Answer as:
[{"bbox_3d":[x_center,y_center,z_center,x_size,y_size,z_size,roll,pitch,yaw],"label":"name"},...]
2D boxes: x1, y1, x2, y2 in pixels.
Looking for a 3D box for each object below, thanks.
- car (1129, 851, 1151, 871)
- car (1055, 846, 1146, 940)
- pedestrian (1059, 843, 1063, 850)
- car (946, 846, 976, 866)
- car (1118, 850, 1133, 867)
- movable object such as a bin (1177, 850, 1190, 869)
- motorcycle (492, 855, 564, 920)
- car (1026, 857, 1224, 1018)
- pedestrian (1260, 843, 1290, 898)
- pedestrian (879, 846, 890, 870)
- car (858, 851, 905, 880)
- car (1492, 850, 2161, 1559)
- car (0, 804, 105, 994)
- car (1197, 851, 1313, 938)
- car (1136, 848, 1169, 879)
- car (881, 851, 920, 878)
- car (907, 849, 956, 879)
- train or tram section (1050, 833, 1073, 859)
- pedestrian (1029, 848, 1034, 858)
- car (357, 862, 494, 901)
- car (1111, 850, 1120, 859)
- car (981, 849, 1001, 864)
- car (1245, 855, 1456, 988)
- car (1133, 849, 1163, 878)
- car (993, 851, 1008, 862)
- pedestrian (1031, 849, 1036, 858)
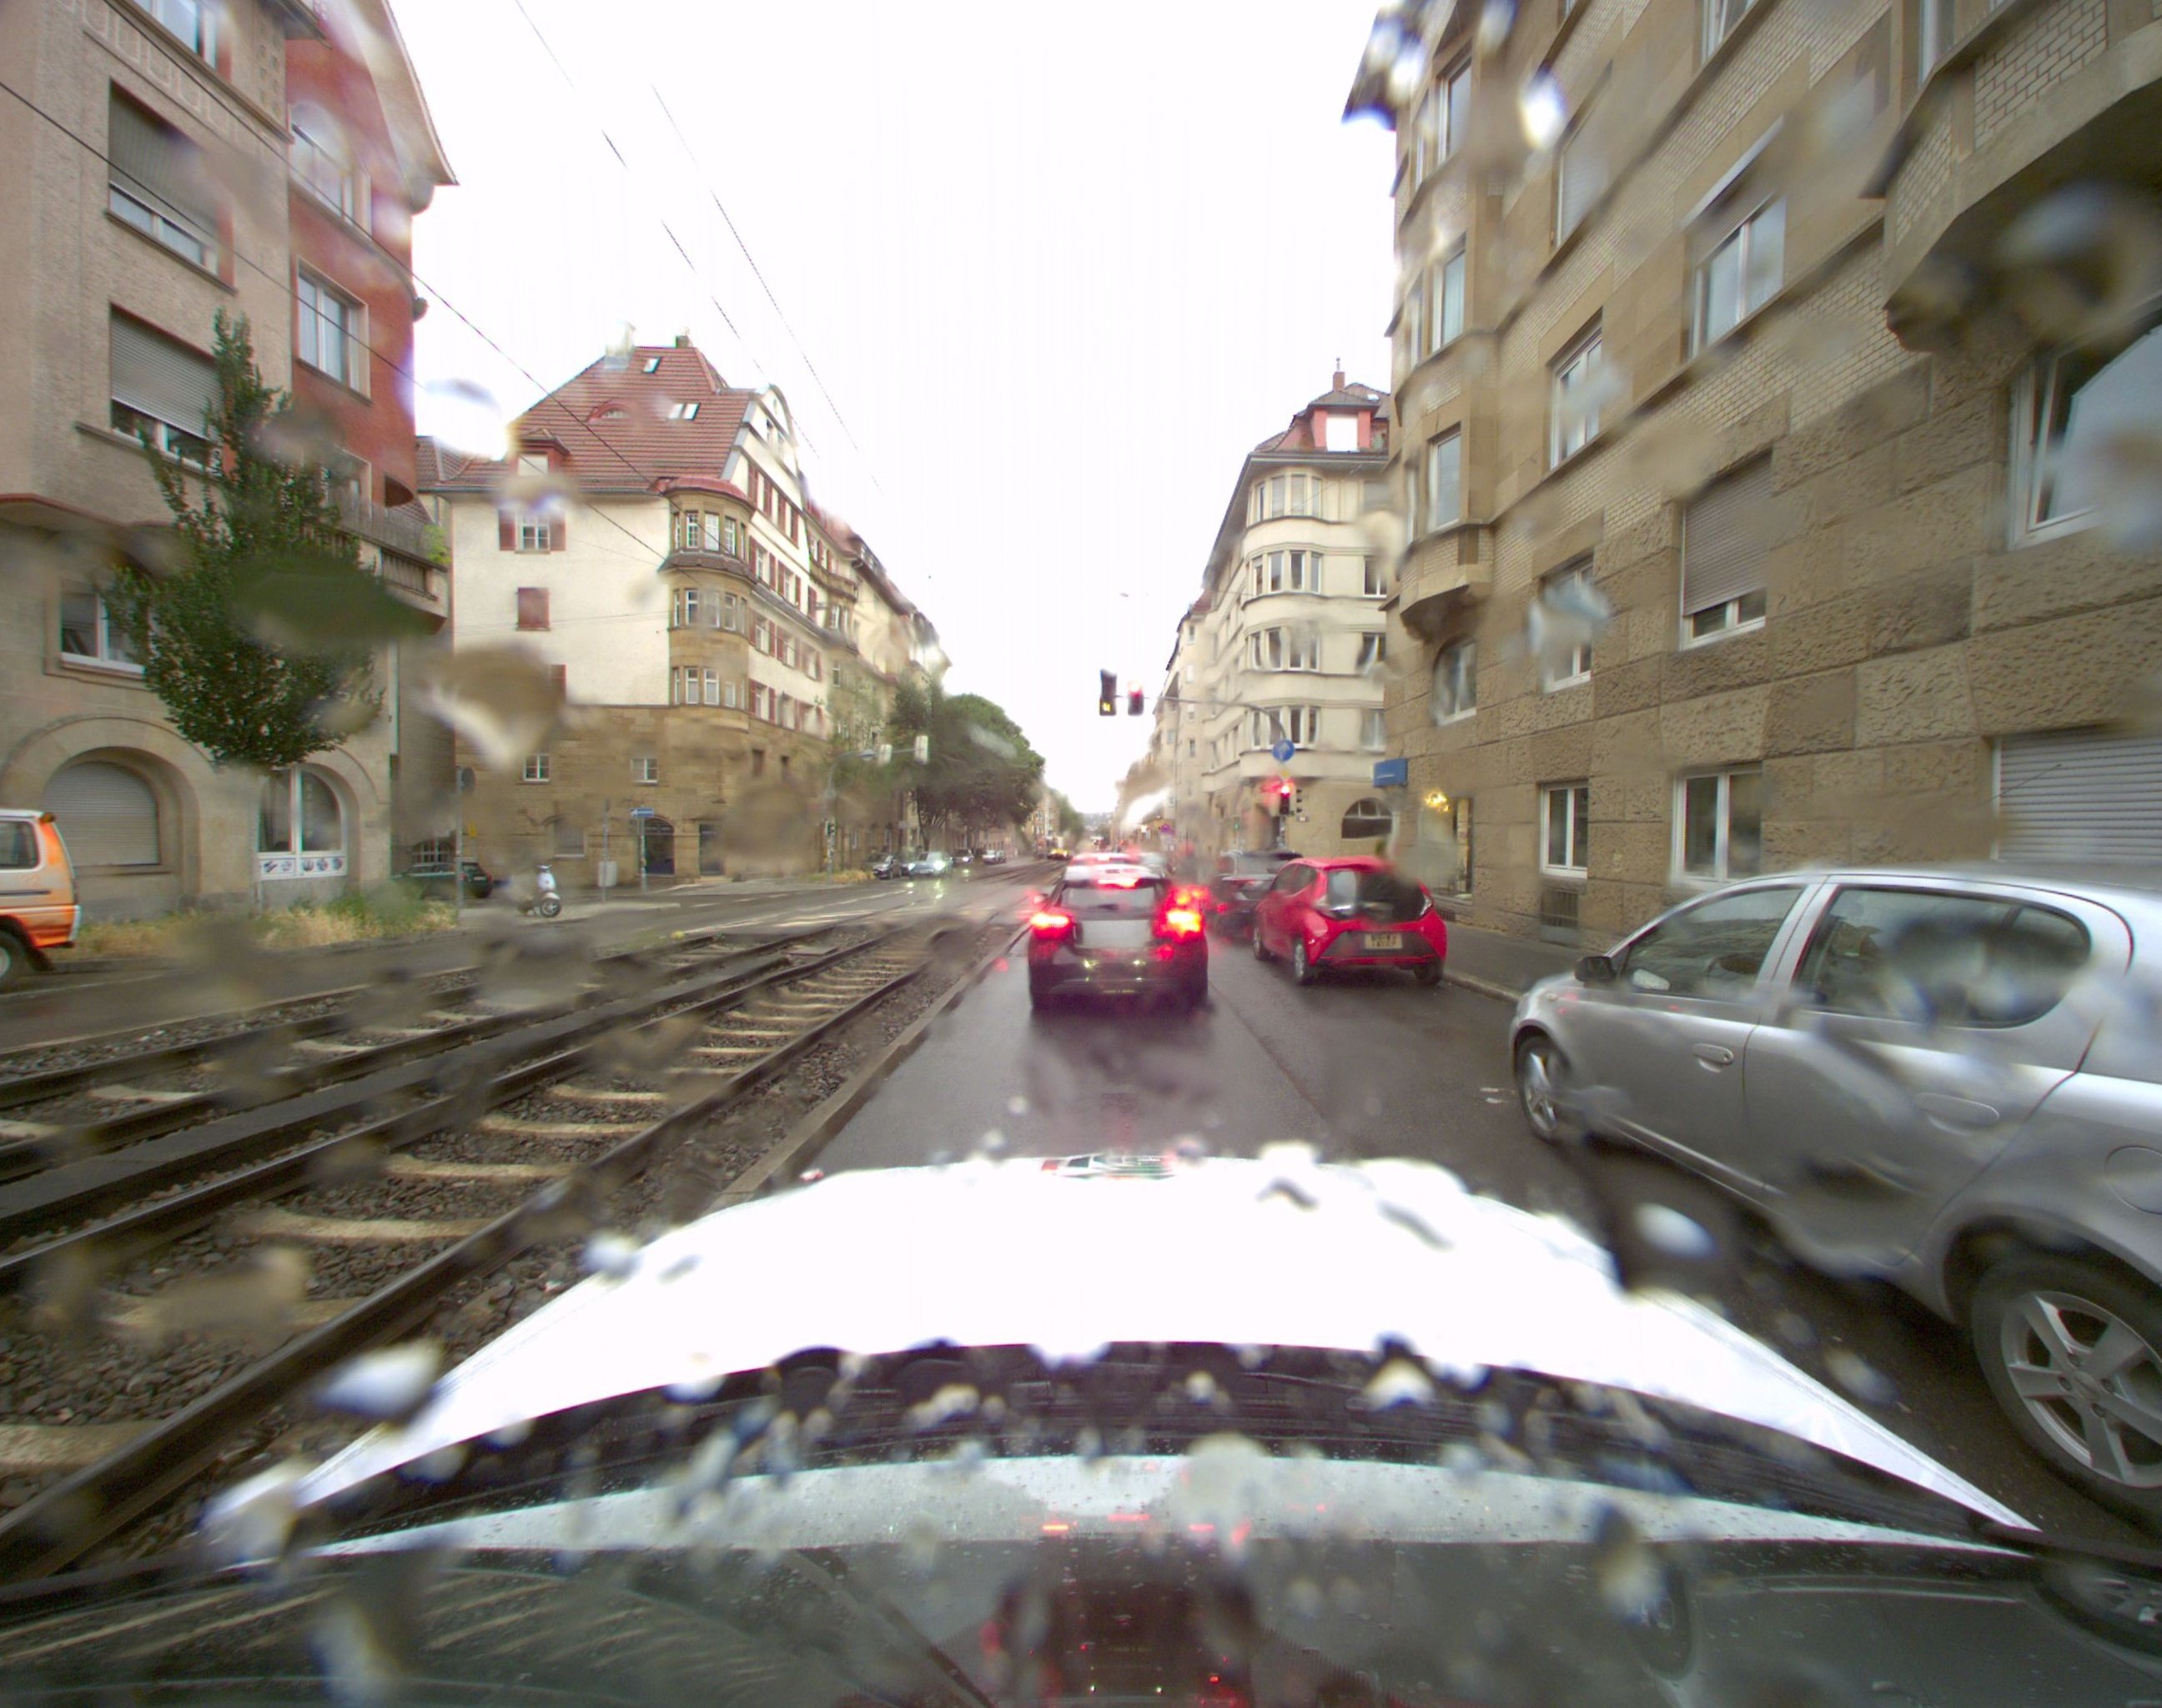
[{"bbox_3d":[4.418,0.531,61.571,1.539,1.486,3.549,0,0,2],"label":"car"},{"bbox_3d":[0.395,0.698,15.948,1.559,1.609,3.815,0,-1,2],"label":"car"},{"bbox_3d":[-5.676,-2.109,227.076,1.049,1.957,1.043,1,0,3],"label":"pedestrian"},{"bbox_3d":[-10.594,0.211,72.128,1.868,1.737,3.920,0,-1,2],"label":"car"},{"bbox_3d":[4.028,0.406,73.662,1.289,1.442,2.930,0,0,2],"label":"car"},{"bbox_3d":[7.476,0.426,59.545,0.873,1.389,0.984,0,-1,5],"label":"movable object such as a bin"},{"bbox_3d":[-12.065,0.704,17.755,1.577,1.365,0.628,-1,-1,28],"label":"motorcycle"},{"bbox_3d":[0.469,0.779,9.552,1.822,1.458,4.105,0,0,2],"label":"car"},{"bbox_3d":[6.298,0.525,26.481,0.739,1.748,1.111,0,-1,2],"label":"pedestrian"},{"bbox_3d":[-14.018,0.272,58.124,0.630,1.672,0.702,0,-1,-4],"label":"pedestrian"},{"bbox_3d":[-11.253,0.634,46.105,1.747,1.552,4.033,0,-1,-2],"label":"car"},{"bbox_3d":[3.148,0.740,3.088,1.608,1.467,3.314,-2,0,3],"label":"car"},{"bbox_3d":[-12.120,0.461,7.198,1.725,1.975,4.341,0,-1,0],"label":"car"},{"bbox_3d":[3.245,0.688,15.798,1.539,1.486,3.831,0,0,2],"label":"car"},{"bbox_3d":[3.703,0.483,42.690,1.539,1.590,3.549,0,0,2],"label":"car"},{"bbox_3d":[-11.284,0.641,51.140,1.713,1.611,3.914,0,-1,-3],"label":"car"},{"bbox_3d":[-8.268,0.577,45.419,1.891,1.588,3.974,0,-1,2],"label":"car"},{"bbox_3d":[-2.872,-1.121,123.764,2.772,3.861,10.433,0,-1,2],"label":"train or tram section"},{"bbox_3d":[-10.627,-0.216,175.486,1.049,1.957,1.043,1,0,3],"label":"pedestrian"},{"bbox_3d":[-24.382,0.998,30.397,3.633,1.404,1.699,0,-1,-3],"label":"car"},{"bbox_3d":[5.958,0.091,139.619,1.538,1.636,3.689,0,0,3],"label":"car"},{"bbox_3d":[-9.865,0.305,89.586,1.583,1.581,3.920,0,-1,2],"label":"car"},{"bbox_3d":[3.279,0.734,10.554,1.637,1.448,3.298,0,0,-1],"label":"car"},{"bbox_3d":[3.844,0.527,47.164,1.539,1.590,3.549,0,0,2],"label":"car"},{"bbox_3d":[-9.795,0.292,99.001,1.443,1.331,3.271,0,-1,0],"label":"car"},{"bbox_3d":[-10.316,-0.205,176.679,1.049,1.957,1.043,1,0,3],"label":"pedestrian"}]
